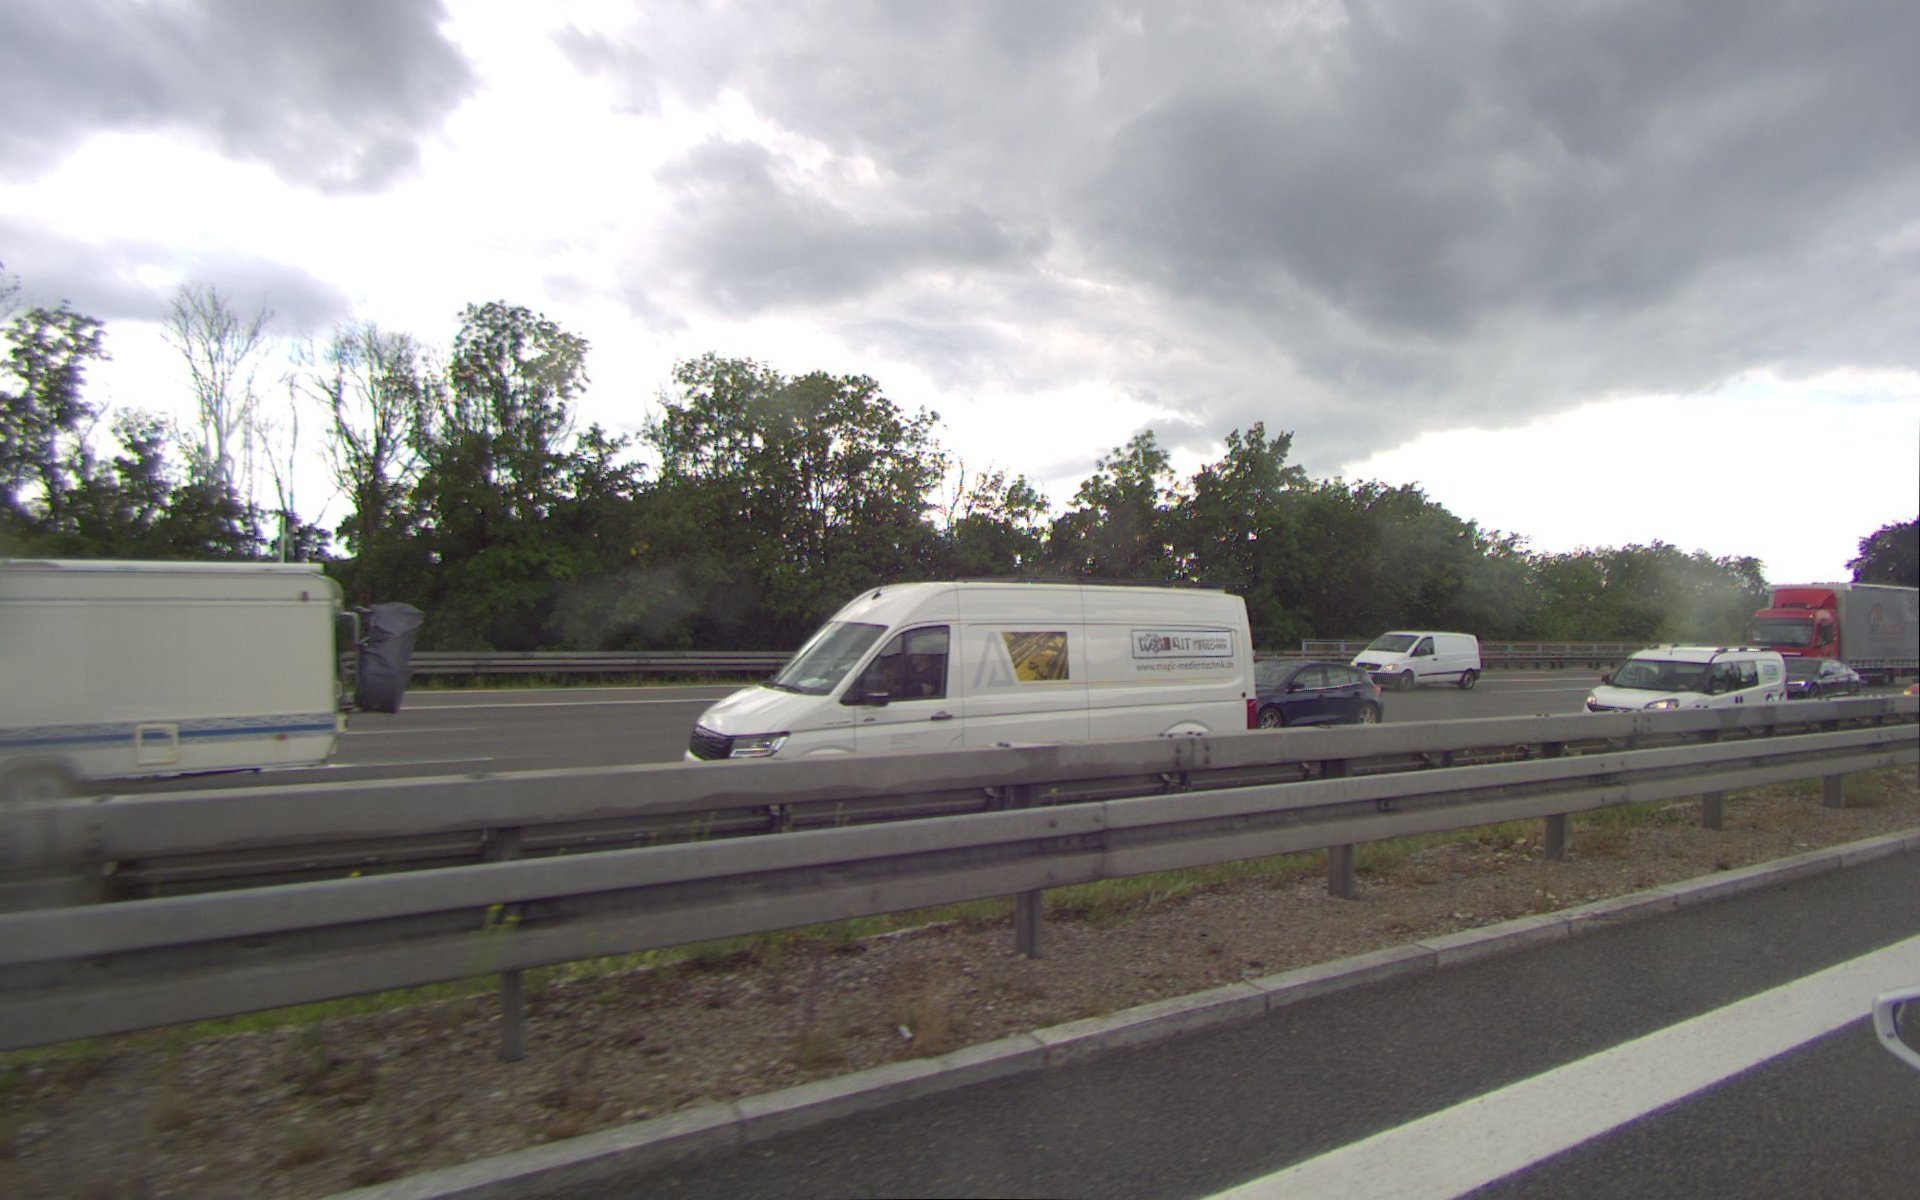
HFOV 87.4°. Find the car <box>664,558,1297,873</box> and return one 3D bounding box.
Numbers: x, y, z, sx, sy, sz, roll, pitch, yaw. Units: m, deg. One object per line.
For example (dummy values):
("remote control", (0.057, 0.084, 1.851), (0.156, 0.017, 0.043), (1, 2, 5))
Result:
("car", (0.556, 1.097, 11.400), (7.227, 2.713, 2.014), (2, -2, -31))

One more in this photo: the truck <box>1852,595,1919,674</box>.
("truck", (52.558, 1.907, 55.442), (6.454, 4.105, 3.011), (1, -2, -29))

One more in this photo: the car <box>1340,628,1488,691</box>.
("car", (15.045, 1.940, 33.201), (5.077, 1.937, 1.885), (2, -2, -30))

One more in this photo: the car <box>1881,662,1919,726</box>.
("car", (24.970, 2.312, 24.967), (4.426, 1.480, 1.885), (2, -2, -31))

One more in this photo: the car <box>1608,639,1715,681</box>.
("car", (29.291, 2.471, 41.901), (4.846, 1.614, 1.885), (2, -2, -31))

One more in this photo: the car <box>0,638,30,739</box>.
("car", (-16.790, 1.319, 14.600), (4.426, 1.514, 1.973), (2, -2, -31))

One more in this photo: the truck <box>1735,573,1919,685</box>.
("truck", (36.712, 1.244, 41.777), (12.151, 4.166, 2.785), (2, -2, -30))

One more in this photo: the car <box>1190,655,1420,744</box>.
("car", (6.803, 1.869, 19.697), (4.424, 1.443, 1.810), (2, 0, -30))

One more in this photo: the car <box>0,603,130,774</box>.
("car", (-13.455, 1.073, 12.544), (4.426, 2.105, 1.973), (2, -2, -31))

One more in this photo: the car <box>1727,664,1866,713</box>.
("car", (25.520, 2.650, 30.623), (4.527, 1.314, 1.885), (2, -2, -31))

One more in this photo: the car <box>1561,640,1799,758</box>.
("car", (13.813, 1.772, 19.178), (5.163, 1.978, 1.809), (2, -2, -31))

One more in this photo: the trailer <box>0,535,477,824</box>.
("trailer", (-9.124, 0.770, 10.599), (7.098, 2.688, 2.331), (2, -2, -30))

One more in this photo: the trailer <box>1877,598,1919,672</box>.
("trailer", (58.075, 2.073, 58.679), (12.985, 4.085, 2.994), (2, -2, -30))
